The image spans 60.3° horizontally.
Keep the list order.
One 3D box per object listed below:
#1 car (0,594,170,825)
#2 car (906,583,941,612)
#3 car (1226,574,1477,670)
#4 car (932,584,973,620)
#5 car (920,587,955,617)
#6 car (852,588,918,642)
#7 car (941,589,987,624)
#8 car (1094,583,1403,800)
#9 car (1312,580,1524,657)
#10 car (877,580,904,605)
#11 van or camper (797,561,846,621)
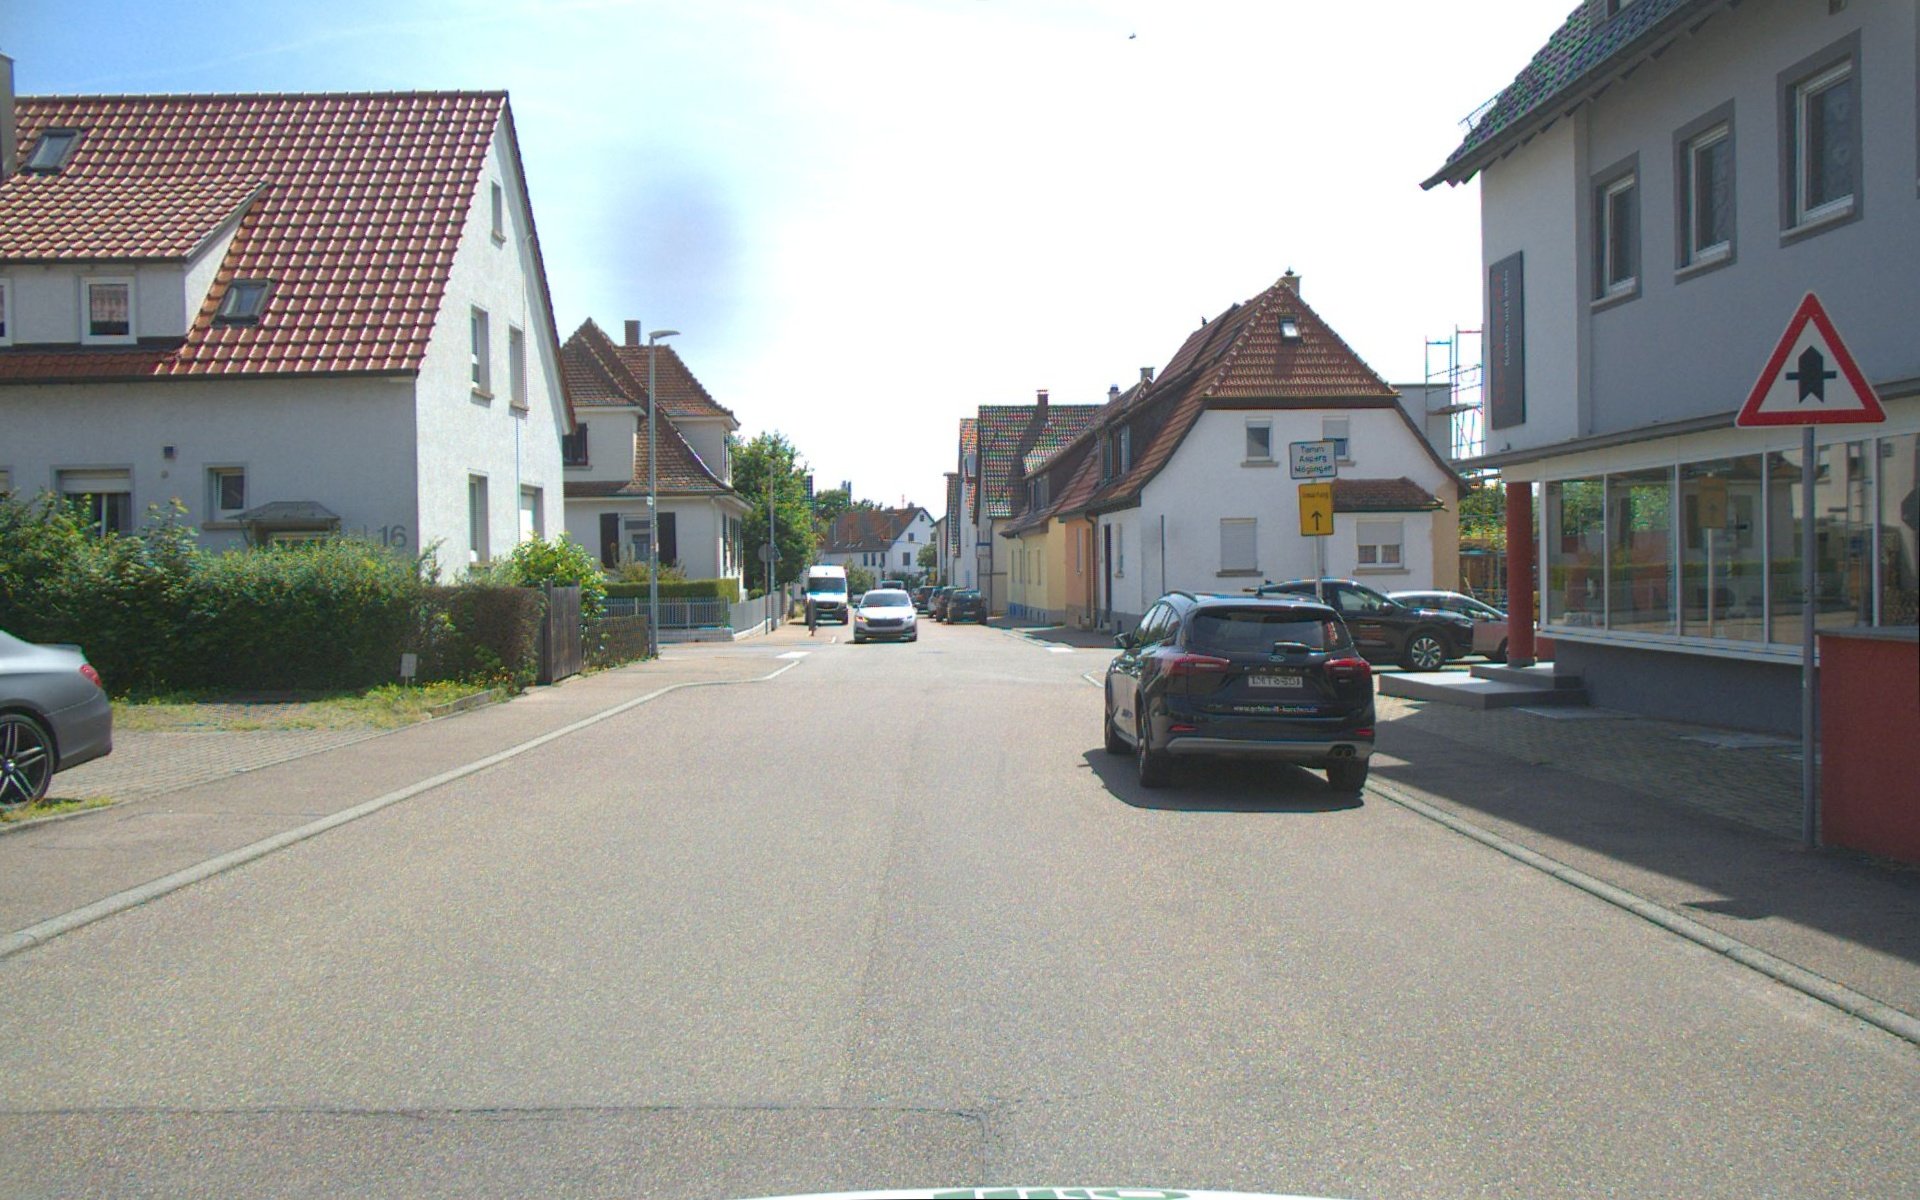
[{"bbox_3d":[-7.144,0.708,9.936,1.788,1.457,4.566,0,0,15],"label":"car"},{"bbox_3d":[-2.299,-0.165,103.694,1.839,1.730,4.178,0,0,-6],"label":"car"},{"bbox_3d":[7.059,0.378,30.139,4.203,1.682,1.849,0,0,4],"label":"car"},{"bbox_3d":[-0.384,0.069,76.843,1.694,1.627,4.250,0,0,-4],"label":"car"},{"bbox_3d":[-1.222,0.077,88.744,1.641,1.586,3.036,0,0,-6],"label":"car"},{"bbox_3d":[-2.106,0.397,47.544,1.717,1.463,4.587,0,0,-1],"label":"car"},{"bbox_3d":[0.161,0.271,71.094,1.580,1.456,3.749,0,0,-6],"label":"car"},{"bbox_3d":[2.259,0.644,14.116,1.726,1.553,4.404,1,0,-2],"label":"car"},{"bbox_3d":[9.369,0.370,34.015,3.904,1.530,1.695,0,0,1],"label":"car"},{"bbox_3d":[-6.228,-0.666,148.814,2.084,2.196,4.737,-1,0,2],"label":"car"},{"bbox_3d":[-6.334,-0.423,76.130,2.141,2.616,6.801,0,0,-4],"label":"van or camper"}]
